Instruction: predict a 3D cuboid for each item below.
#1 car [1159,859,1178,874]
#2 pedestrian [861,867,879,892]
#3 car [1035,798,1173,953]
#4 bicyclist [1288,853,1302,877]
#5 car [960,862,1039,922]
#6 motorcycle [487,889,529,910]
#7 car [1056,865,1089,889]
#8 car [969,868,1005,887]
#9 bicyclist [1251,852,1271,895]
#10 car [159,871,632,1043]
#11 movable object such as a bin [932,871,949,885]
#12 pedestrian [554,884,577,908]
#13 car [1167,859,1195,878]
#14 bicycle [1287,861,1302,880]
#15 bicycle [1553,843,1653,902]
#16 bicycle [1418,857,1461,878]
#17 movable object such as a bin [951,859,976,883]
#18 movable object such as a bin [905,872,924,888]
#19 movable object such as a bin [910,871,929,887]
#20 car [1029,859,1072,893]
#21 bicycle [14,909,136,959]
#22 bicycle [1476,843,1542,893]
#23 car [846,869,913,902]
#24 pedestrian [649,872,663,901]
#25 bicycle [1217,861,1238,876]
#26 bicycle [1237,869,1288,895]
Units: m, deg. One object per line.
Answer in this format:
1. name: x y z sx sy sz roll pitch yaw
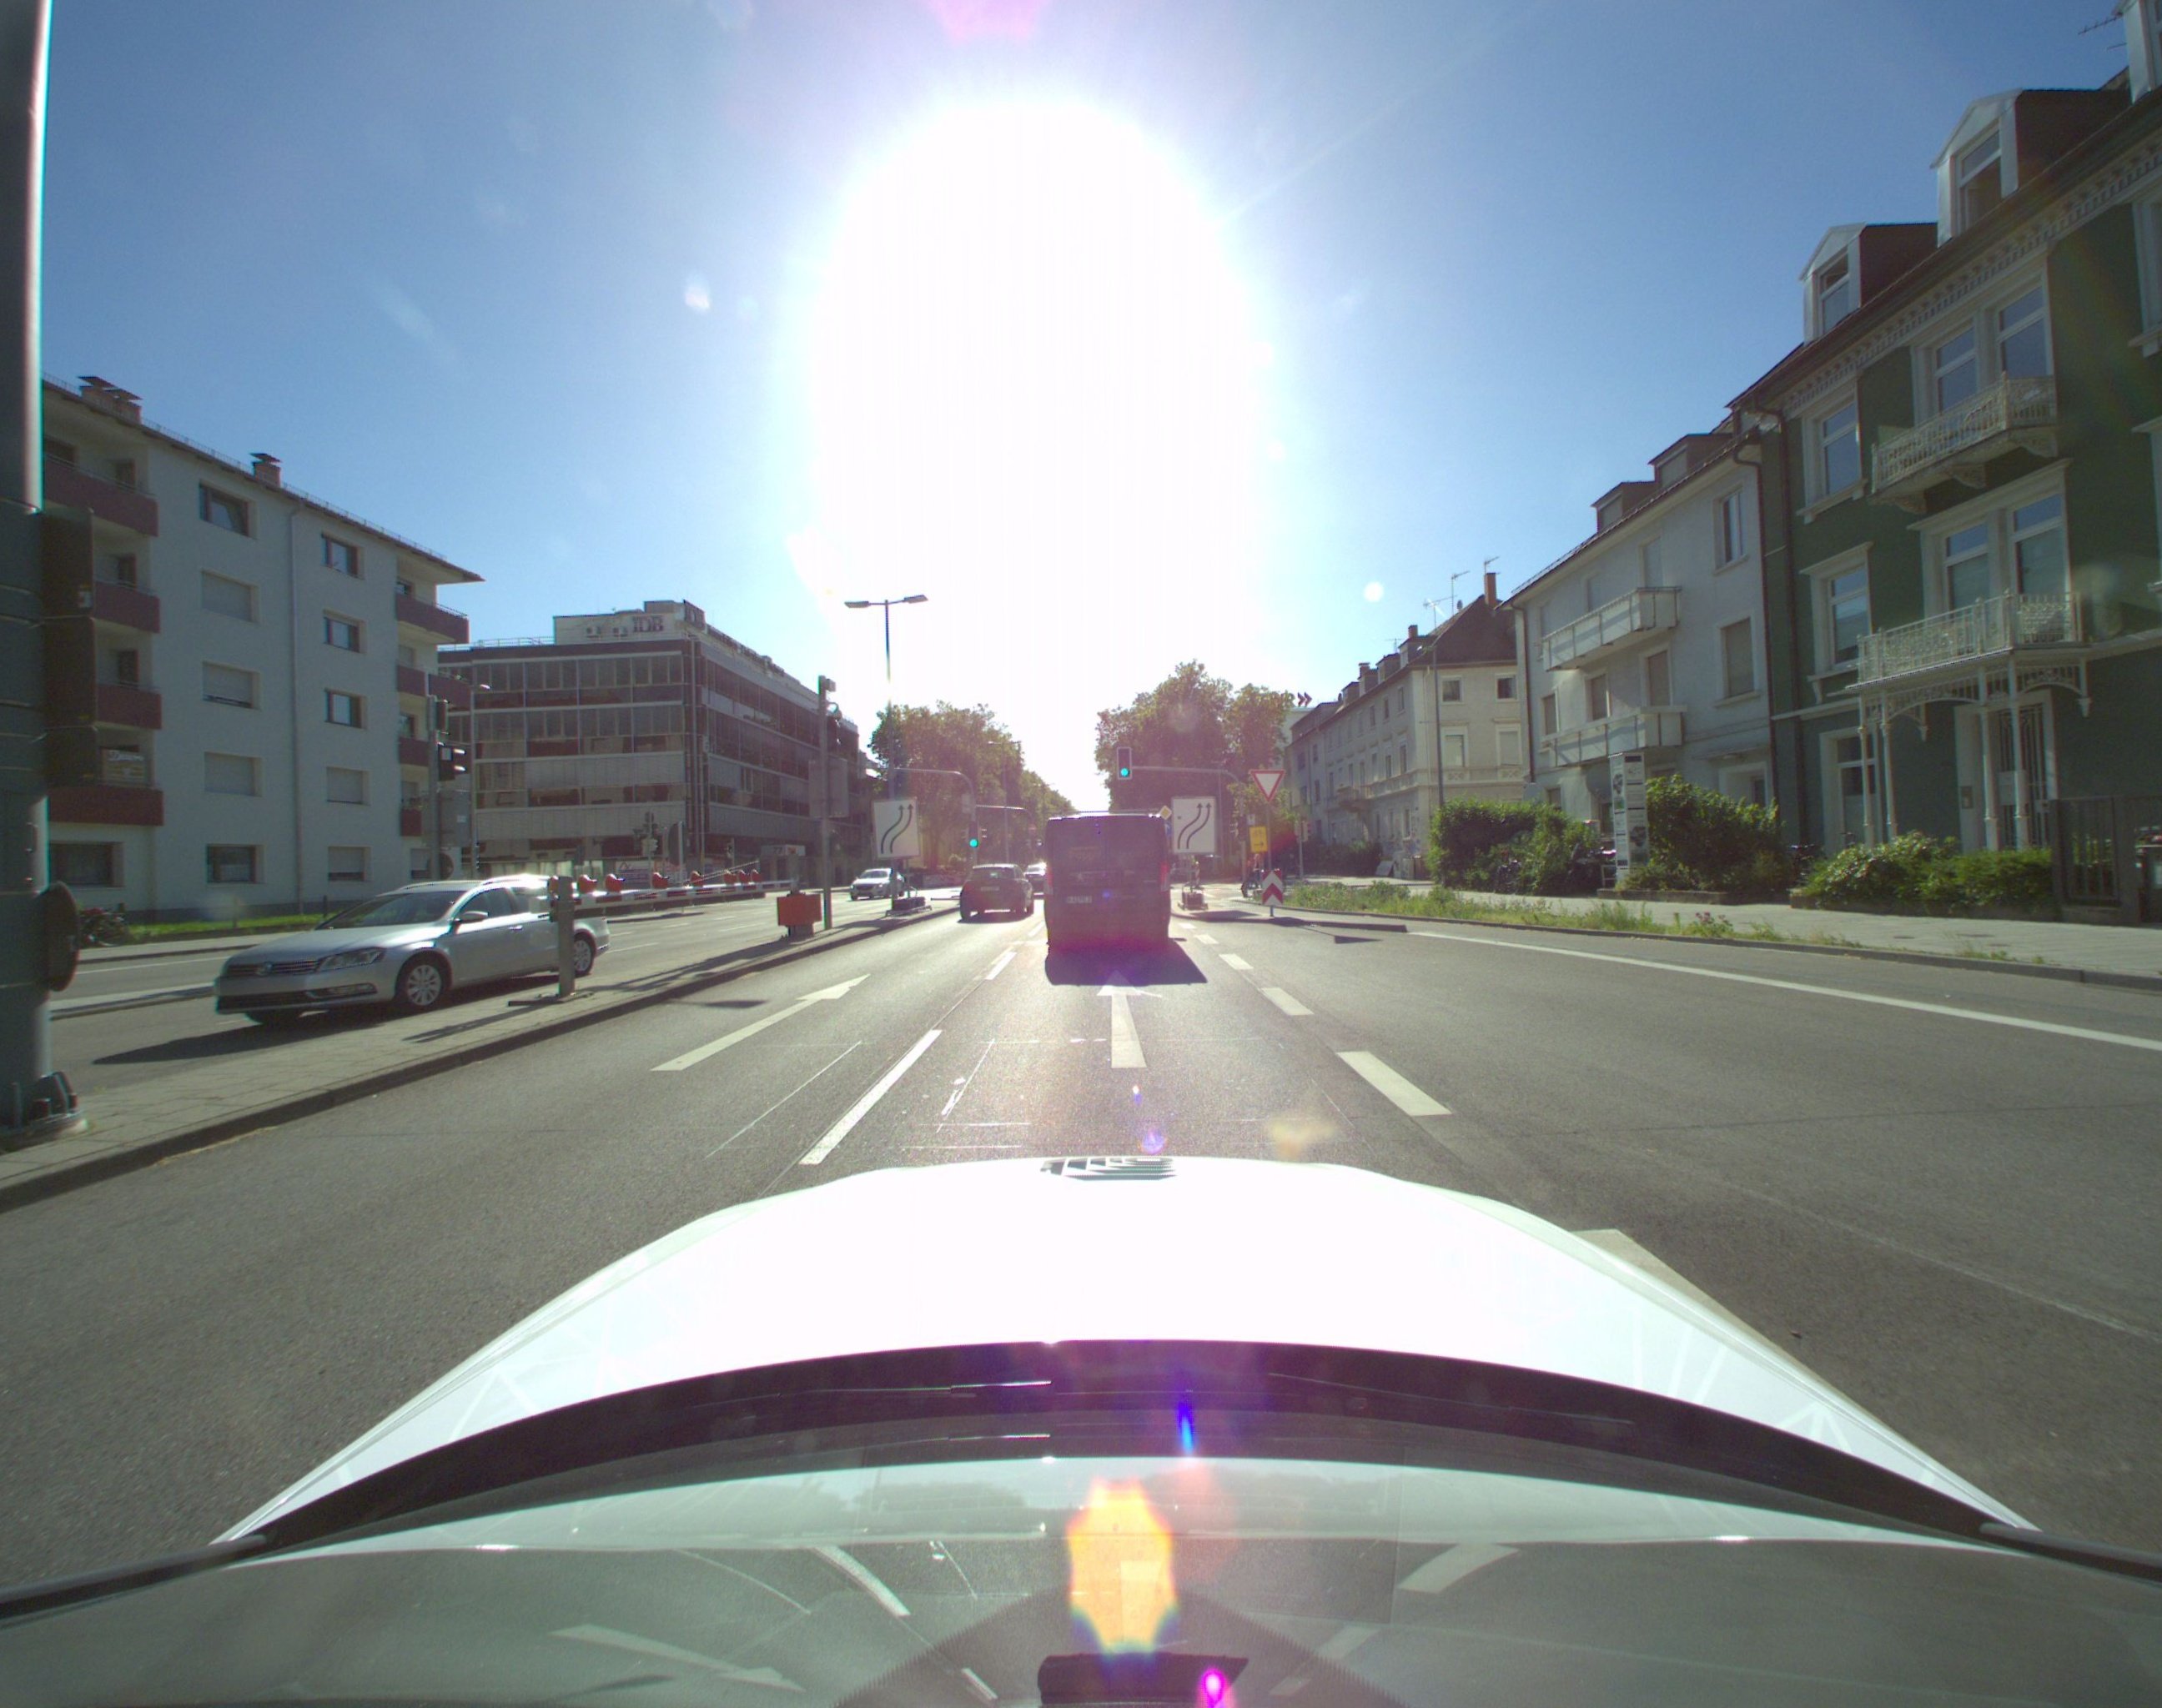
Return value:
1. car: 9.589 1.386 89.328 1.756 1.508 4.253 -2 -1 2
2. pedestrian: -14.759 1.784 57.009 0.859 1.711 1.015 -2 -1 9
3. car: 0.419 0.336 14.607 2.087 2.355 3.934 -1 0 1
4. bicyclist: 13.335 0.679 50.790 0.717 1.499 0.875 -2 -1 20
5. car: -2.175 0.998 22.754 1.740 1.407 4.001 -1 1 1
6. motorcycle: -28.172 2.237 40.070 0.500 0.936 1.847 -2 -1 10
7. car: -0.550 1.473 54.400 1.903 1.444 4.606 -1 0 3
8. car: -7.547 1.903 65.674 1.921 1.345 4.323 -2 0 6
9. bicyclist: 7.319 0.784 33.182 0.601 1.708 0.859 -2 -1 2
10. car: -8.169 1.090 10.499 1.986 1.453 4.620 -3 1 2
11. movable object such as a bin: -13.956 2.370 80.745 1.404 1.338 1.158 -2 -1 4
12. pedestrian: -25.272 2.056 39.932 0.717 1.153 0.786 -2 -1 -10
13. car: 8.598 1.251 70.113 1.845 1.479 4.942 -2 -1 1
14. bicycle: 13.331 1.015 50.745 0.682 1.098 1.695 -2 -1 20
15. bicycle: 14.060 0.486 21.956 2.247 1.485 0.638 -2 -1 0
16. bicycle: 19.235 0.729 43.721 1.987 1.080 0.579 -2 -1 3
17. movable object such as a bin: -13.586 1.966 94.293 2.140 2.706 5.353 -2 -1 -1
18. movable object such as a bin: -14.626 2.283 71.413 1.109 1.388 1.857 -2 -1 4
19. movable object such as a bin: -14.619 2.278 73.751 1.209 1.388 1.857 -2 -1 4
20. car: -1.326 0.939 36.749 1.740 1.407 4.000 -1 0 1
21. bicycle: -23.043 1.805 18.709 0.303 0.958 1.941 -2 -1 3
22. bicycle: 12.856 0.397 24.559 0.705 1.443 2.492 -1 0 1
23. car: -9.937 1.537 40.504 1.985 1.453 4.395 1 0 4
24. pedestrian: -25.229 1.936 48.316 0.702 1.658 0.739 -2 -1 -28
25. bicycle: 11.043 1.092 61.310 0.581 1.005 2.145 -2 -1 37
26. bicycle: 7.383 1.132 33.123 1.955 1.025 0.605 -1 0 1
